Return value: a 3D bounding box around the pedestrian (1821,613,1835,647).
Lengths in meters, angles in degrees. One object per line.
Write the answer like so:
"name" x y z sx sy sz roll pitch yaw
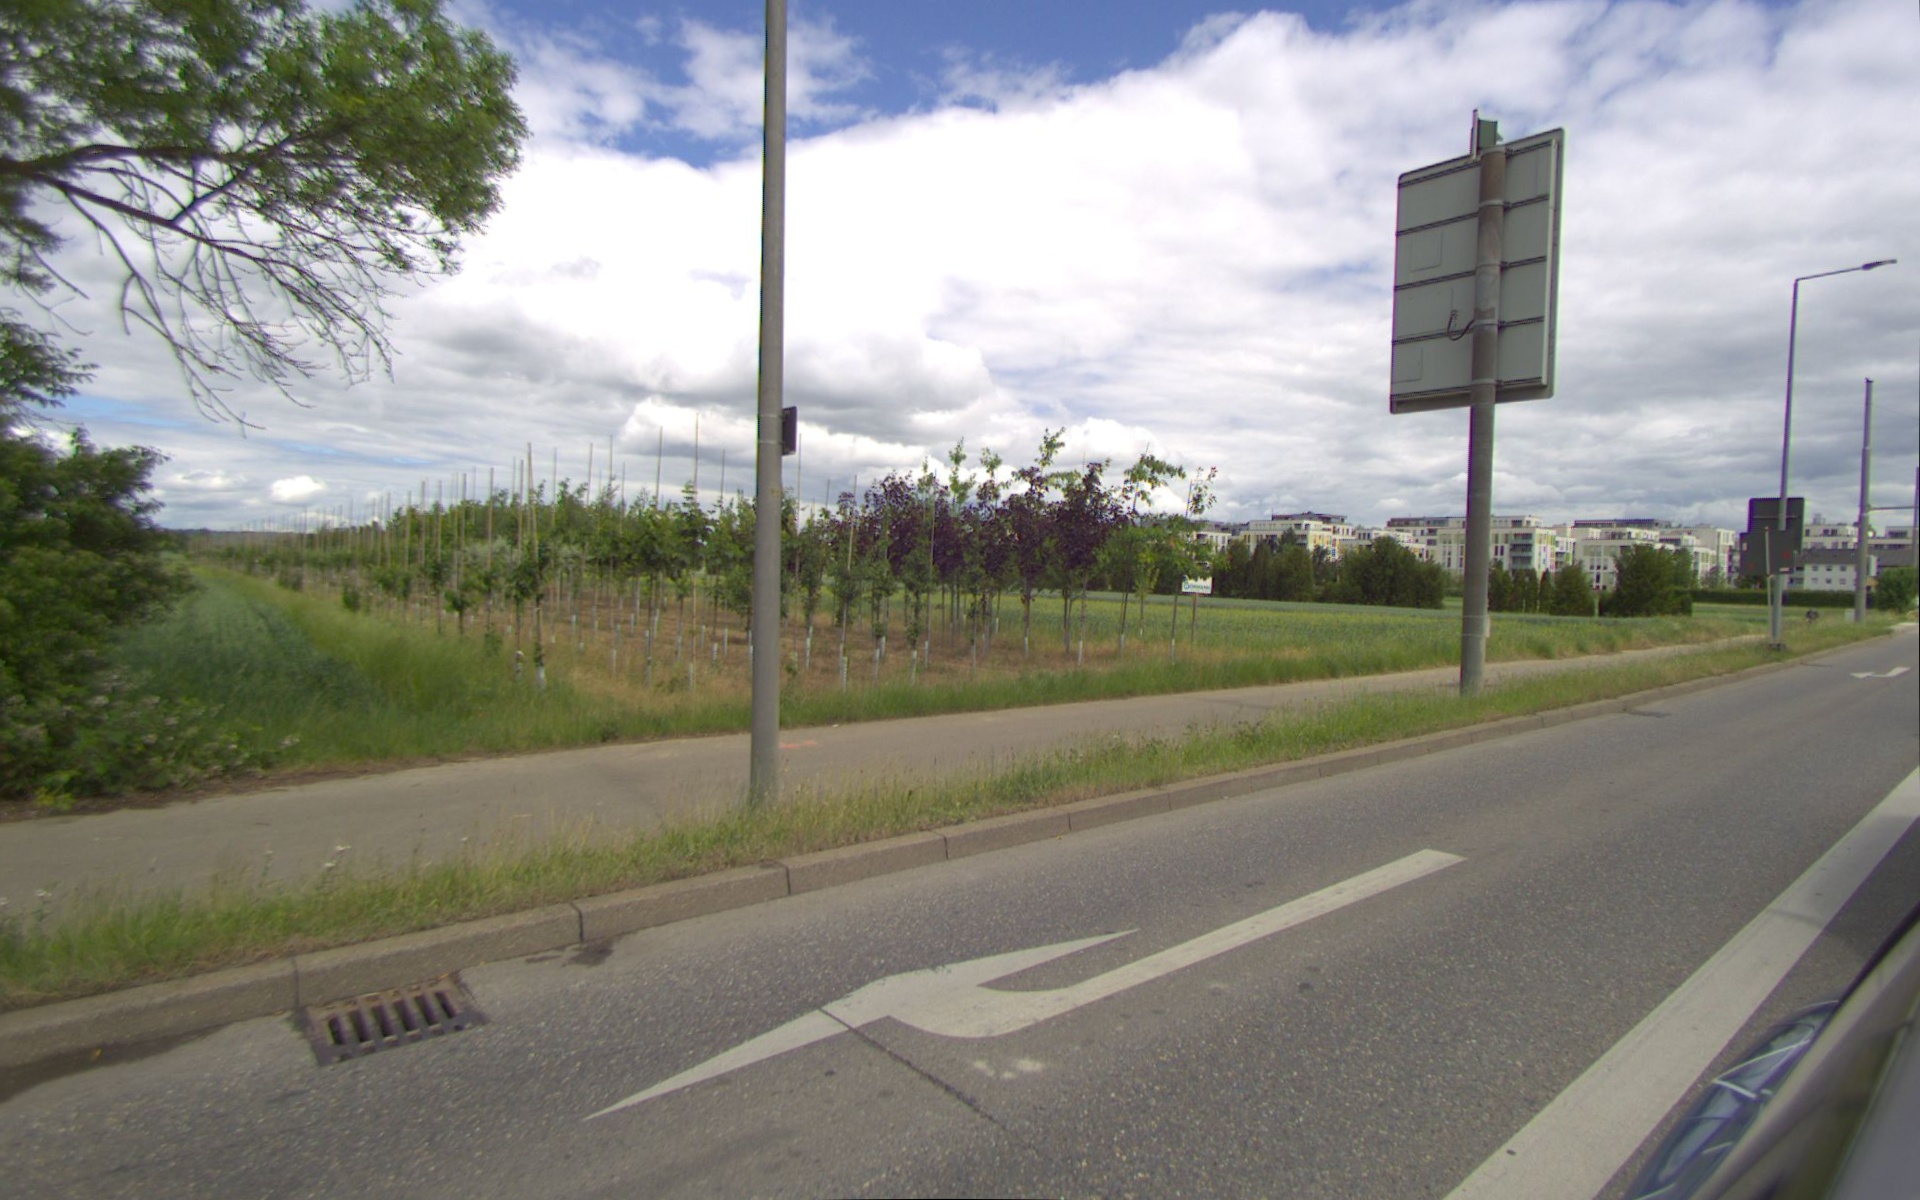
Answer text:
"pedestrian" 45.959 1.581 53.603 0.615 1.724 0.492 0 0 -42
